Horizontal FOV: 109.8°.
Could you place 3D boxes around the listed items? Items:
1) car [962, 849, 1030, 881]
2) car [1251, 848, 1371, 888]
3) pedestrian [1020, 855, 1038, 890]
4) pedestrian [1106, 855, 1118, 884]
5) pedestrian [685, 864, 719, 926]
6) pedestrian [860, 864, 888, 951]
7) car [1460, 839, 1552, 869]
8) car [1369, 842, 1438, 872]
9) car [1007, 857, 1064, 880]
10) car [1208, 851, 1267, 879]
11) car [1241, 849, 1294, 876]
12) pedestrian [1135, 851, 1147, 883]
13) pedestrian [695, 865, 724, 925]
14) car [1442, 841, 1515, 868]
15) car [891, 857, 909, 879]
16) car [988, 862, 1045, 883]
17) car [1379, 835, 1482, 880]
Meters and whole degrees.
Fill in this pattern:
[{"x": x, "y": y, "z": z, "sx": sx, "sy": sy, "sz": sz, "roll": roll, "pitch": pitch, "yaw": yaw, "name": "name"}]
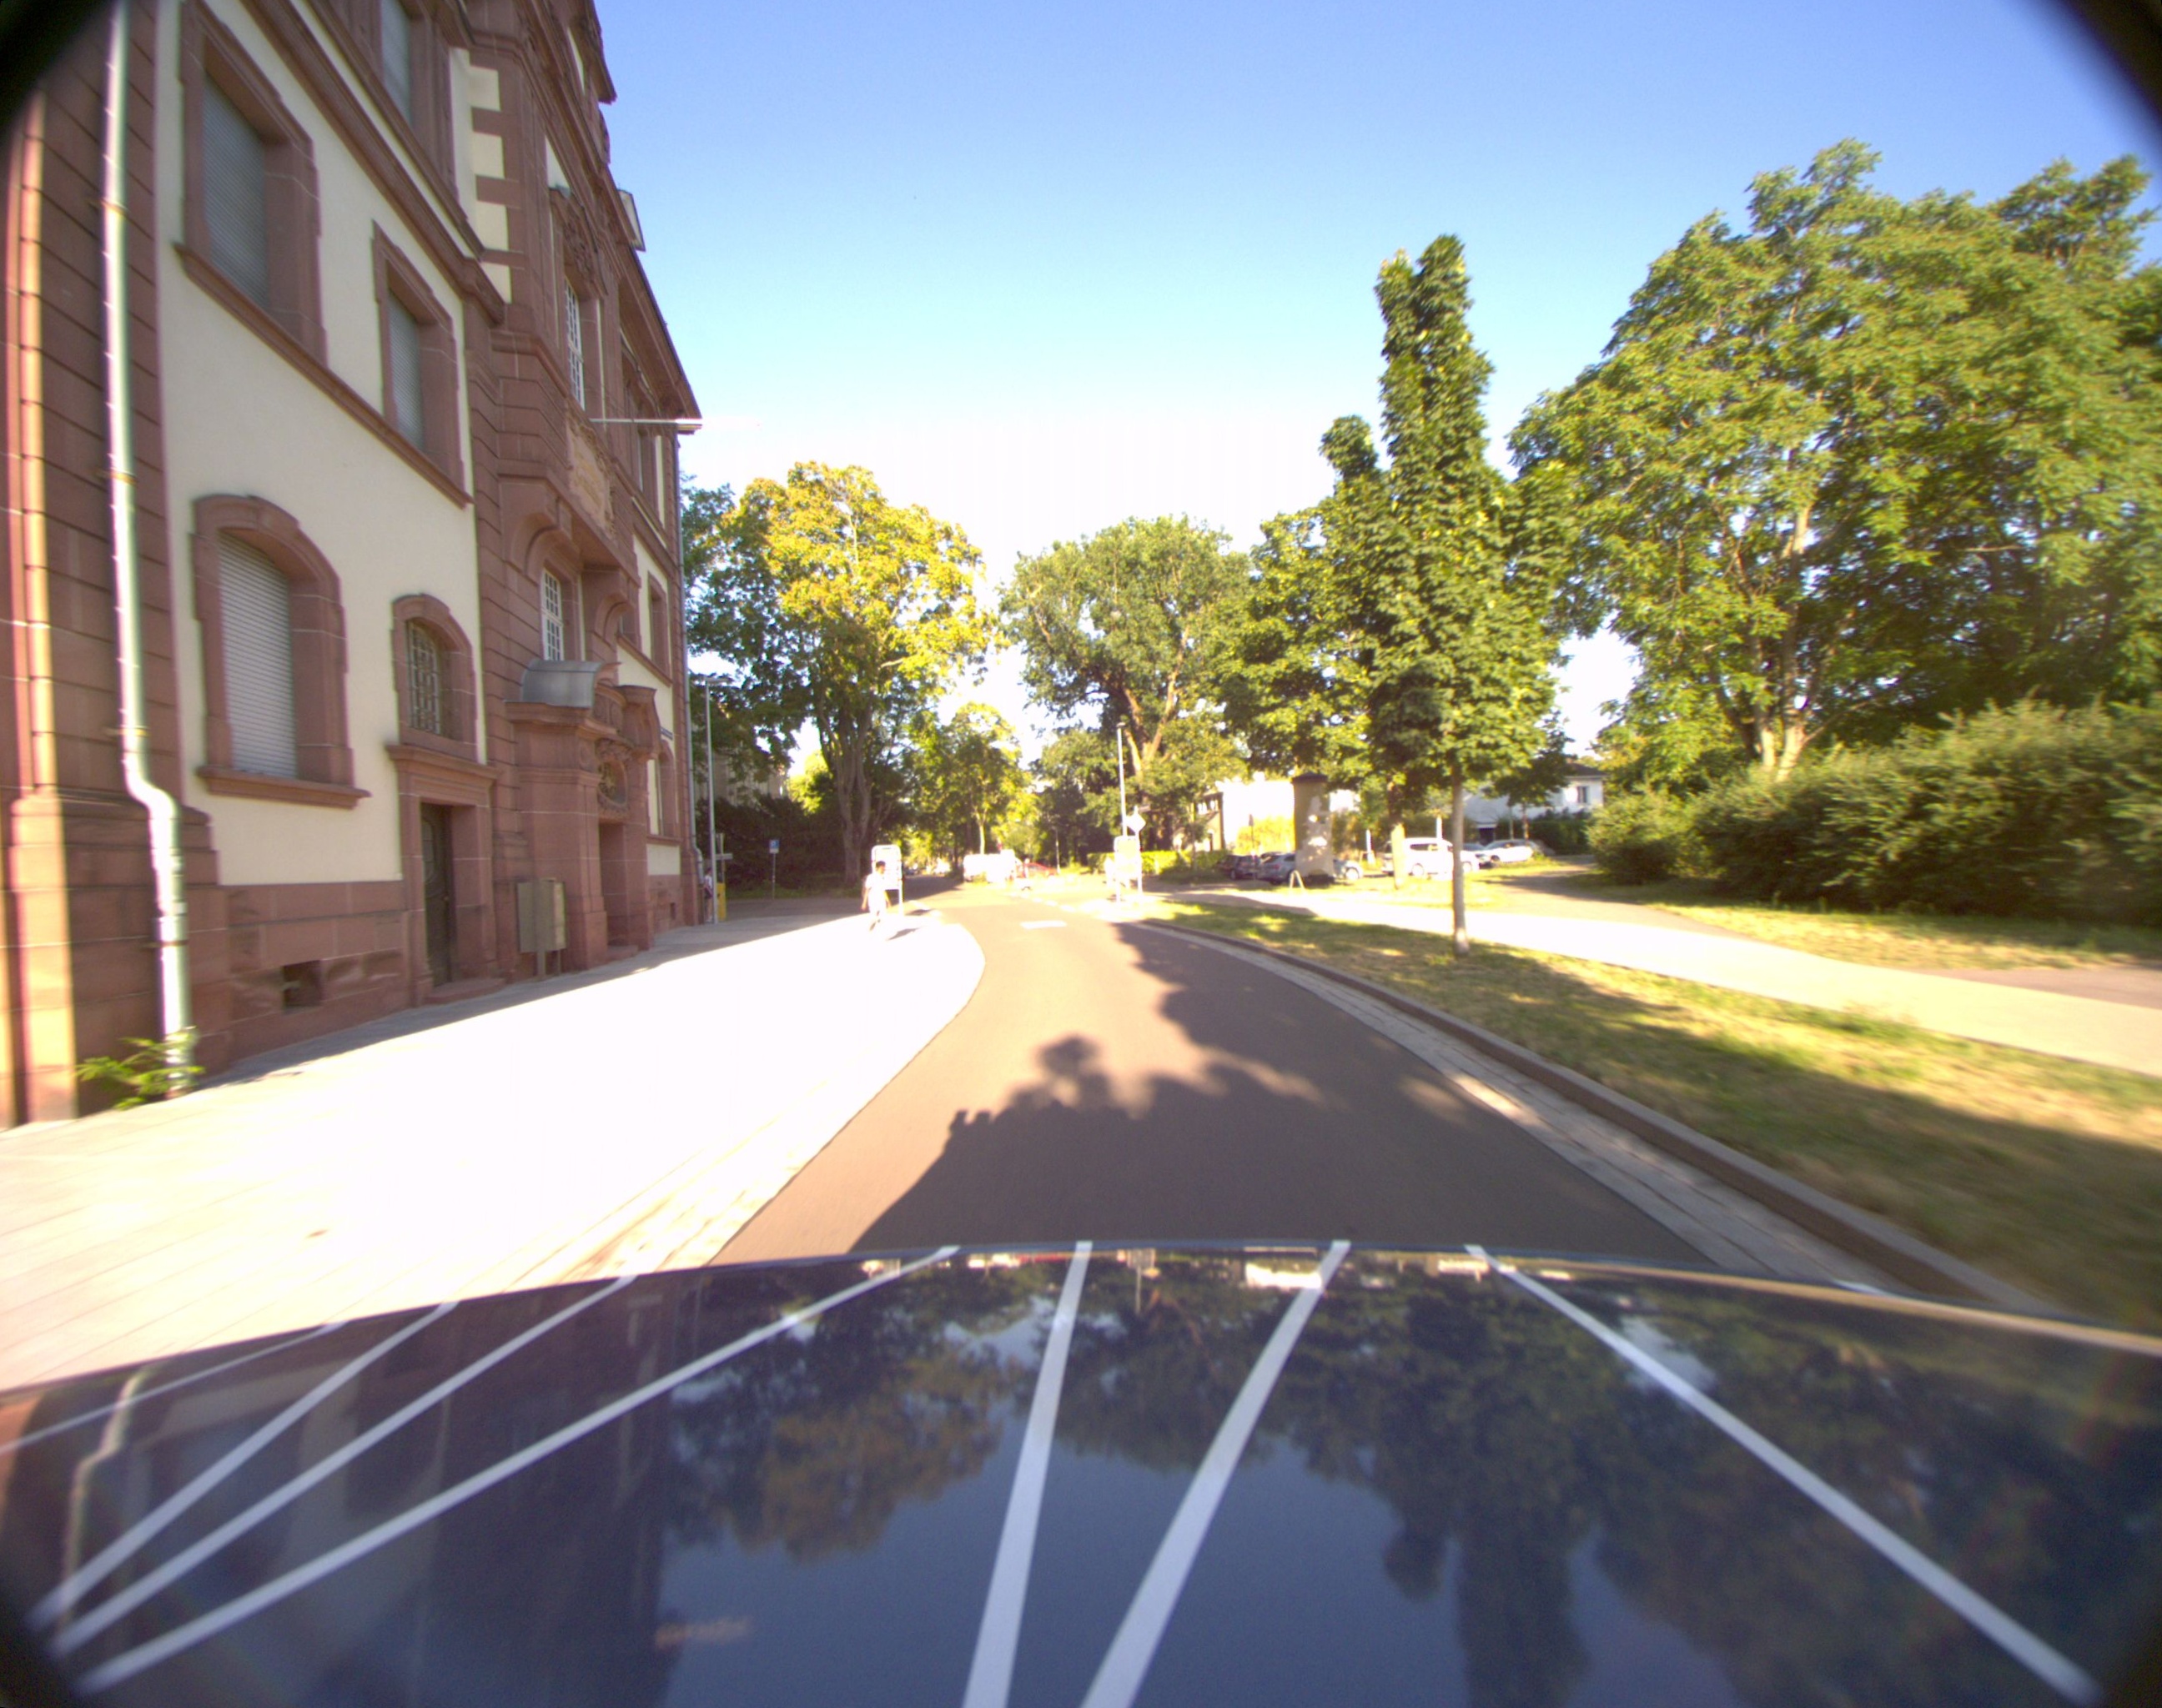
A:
[{"x": -7.885, "y": 1.024, "z": 70.595, "sx": 5.913, "sy": 2.684, "sz": 2.218, "roll": -2, "pitch": 0, "yaw": -16, "name": "car"}, {"x": 10.323, "y": 0.606, "z": 34.210, "sx": 4.840, "sy": 1.549, "sz": 1.866, "roll": -2, "pitch": 0, "yaw": -14, "name": "car"}, {"x": -2.986, "y": 1.051, "z": 43.399, "sx": 0.615, "sy": 1.907, "sz": 0.721, "roll": -5, "pitch": 2, "yaw": -38, "name": "pedestrian"}, {"x": 1.762, "y": 0.879, "z": 43.245, "sx": 0.435, "sy": 1.571, "sz": 0.666, "roll": -3, "pitch": 0, "yaw": -9, "name": "pedestrian"}, {"x": -11.524, "y": 1.233, "z": 23.125, "sx": 0.717, "sy": 1.829, "sz": 0.789, "roll": -2, "pitch": -1, "yaw": -12, "name": "pedestrian"}, {"x": -4.229, "y": 1.060, "z": 15.568, "sx": 0.534, "sy": 1.709, "sz": 1.002, "roll": 0, "pitch": 0, "yaw": -13, "name": "pedestrian"}, {"x": 23.947, "y": 0.006, "z": 42.877, "sx": 4.347, "sy": 1.525, "sz": 1.782, "roll": -2, "pitch": -1, "yaw": -11, "name": "car"}, {"x": 19.800, "y": 0.215, "z": 46.792, "sx": 1.746, "sy": 1.528, "sz": 3.920, "roll": -4, "pitch": -1, "yaw": -17, "name": "car"}, {"x": -3.217, "y": 1.019, "z": 53.495, "sx": 3.682, "sy": 1.412, "sz": 1.716, "roll": -2, "pitch": 0, "yaw": -16, "name": "car"}, {"x": 8.937, "y": 0.611, "z": 43.673, "sx": 1.646, "sy": 1.507, "sz": 3.994, "roll": -2, "pitch": 1, "yaw": -16, "name": "car"}, {"x": 11.105, "y": 0.490, "z": 45.429, "sx": 1.639, "sy": 1.483, "sz": 3.351, "roll": -2, "pitch": 1, "yaw": -16, "name": "car"}, {"x": 3.349, "y": 0.703, "z": 42.636, "sx": 0.435, "sy": 1.764, "sz": 0.666, "roll": -3, "pitch": 0, "yaw": -9, "name": "pedestrian"}, {"x": -11.668, "y": 1.280, "z": 23.890, "sx": 0.613, "sy": 1.828, "sz": 0.726, "roll": -2, "pitch": -2, "yaw": -12, "name": "pedestrian"}, {"x": 24.638, "y": -0.004, "z": 47.246, "sx": 1.746, "sy": 1.529, "sz": 3.918, "roll": -2, "pitch": 1, "yaw": -16, "name": "car"}, {"x": -22.443, "y": 1.737, "z": 94.300, "sx": 1.953, "sy": 2.584, "sz": 4.162, "roll": -2, "pitch": 0, "yaw": -11, "name": "car"}, {"x": -5.024, "y": 1.407, "z": 58.910, "sx": 4.061, "sy": 1.412, "sz": 1.716, "roll": -2, "pitch": 0, "yaw": -16, "name": "car"}, {"x": 16.545, "y": 0.172, "z": 36.011, "sx": 4.240, "sy": 1.905, "sz": 1.760, "roll": -2, "pitch": 0, "yaw": -14, "name": "car"}]
